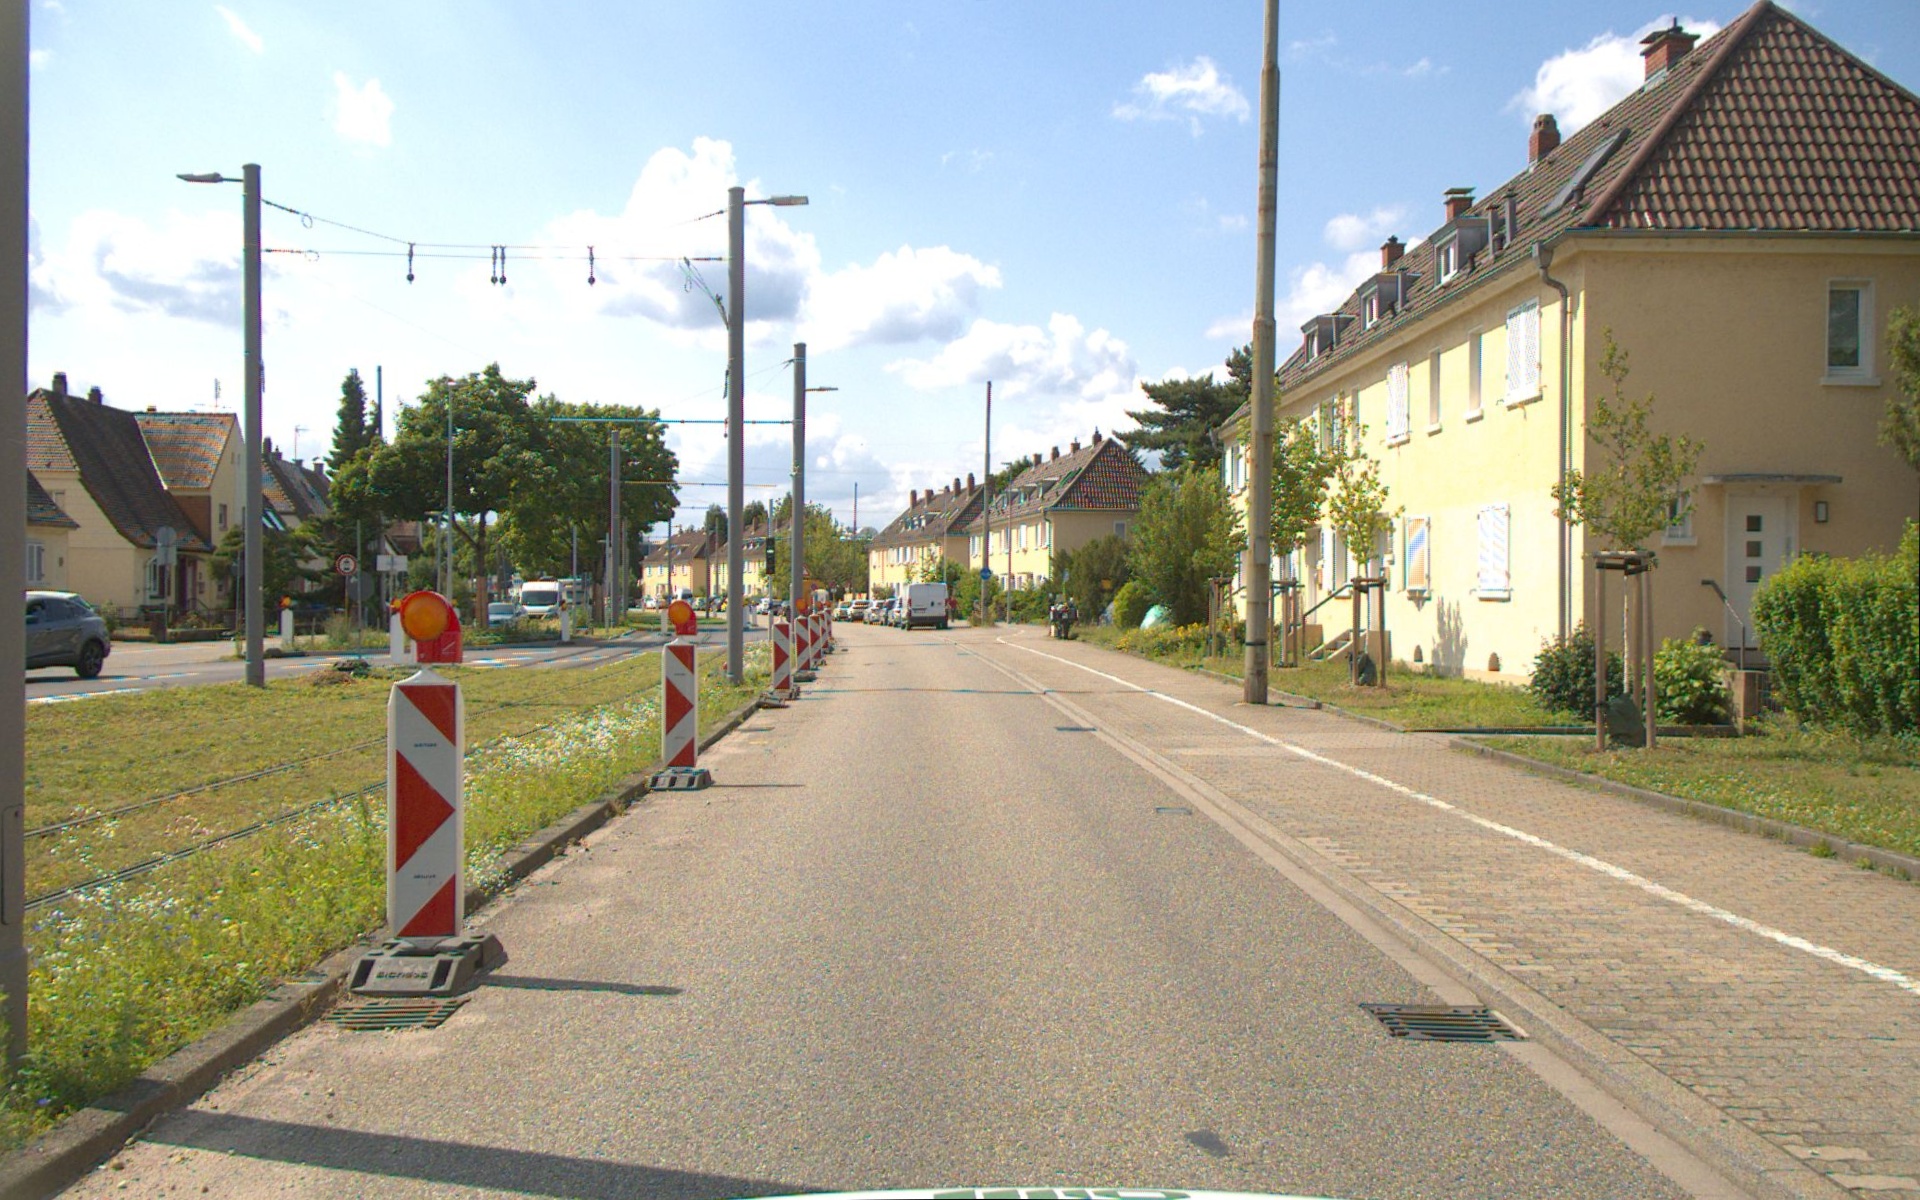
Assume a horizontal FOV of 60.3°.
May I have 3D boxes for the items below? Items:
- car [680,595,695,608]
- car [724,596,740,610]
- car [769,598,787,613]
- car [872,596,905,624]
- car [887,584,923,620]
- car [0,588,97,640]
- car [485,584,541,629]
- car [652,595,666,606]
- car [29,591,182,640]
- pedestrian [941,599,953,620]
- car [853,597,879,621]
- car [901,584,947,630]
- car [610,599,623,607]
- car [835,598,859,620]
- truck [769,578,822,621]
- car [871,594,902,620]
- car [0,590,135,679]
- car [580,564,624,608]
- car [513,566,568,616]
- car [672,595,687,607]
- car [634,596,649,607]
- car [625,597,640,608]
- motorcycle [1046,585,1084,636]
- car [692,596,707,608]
[{"bbox_3d":[-32.162,0.197,195.376,1.150,1.451,2.647,0,0,-22],"label":"car"},{"bbox_3d":[-24.193,0.324,175.428,1.239,1.451,2.650,0,0,-19],"label":"car"},{"bbox_3d":[-17.137,0.519,155.735,1.238,1.451,2.651,0,0,-18],"label":"car"},{"bbox_3d":[-4.156,0.566,96.098,1.538,1.579,3.782,0,0,-8],"label":"car"},{"bbox_3d":[-3.046,0.095,91.205,1.538,1.930,3.782,0,0,-8],"label":"car"},{"bbox_3d":[-27.829,0.397,48.473,4.025,1.492,1.990,0,0,-2],"label":"car"},{"bbox_3d":[-18.884,0.272,70.002,2.057,1.807,4.109,0,0,-12],"label":"car"},{"bbox_3d":[-38.126,0.049,209.722,1.240,1.451,2.646,0,0,-23],"label":"car"},{"bbox_3d":[-27.132,0.476,52.593,3.907,1.422,1.704,1,0,-2],"label":"car"},{"bbox_3d":[-0.785,0.604,101.869,0.620,1.277,0.725,0,0,-11],"label":"pedestrian"},{"bbox_3d":[-6.469,0.620,113.662,1.538,1.579,3.472,0,0,-8],"label":"car"},{"bbox_3d":[-1.812,0.339,81.538,2.025,2.187,4.874,0,0,-4],"label":"car"},{"bbox_3d":[-47.648,0.383,229.324,1.242,1.162,2.644,0,0,-25],"label":"car"},{"bbox_3d":[-8.218,0.617,120.016,1.538,1.579,3.472,0,0,-8],"label":"car"},{"bbox_3d":[-14.292,-0.017,143.197,2.599,3.555,9.389,0,0,-18],"label":"truck"},{"bbox_3d":[-4.532,0.423,102.070,1.538,1.579,3.782,0,0,-8],"label":"car"},{"bbox_3d":[-17.620,0.610,30.890,1.804,1.561,4.740,0,0,4],"label":"car"},{"bbox_3d":[-20.262,-0.780,93.641,2.364,2.412,4.865,0,0,-12],"label":"car"},{"bbox_3d":[-20.563,-0.403,81.217,2.364,2.379,4.865,0,0,-12],"label":"car"},{"bbox_3d":[-33.833,0.137,199.504,1.150,1.451,2.647,0,0,-22],"label":"car"},{"bbox_3d":[-41.785,0.160,216.978,1.242,1.451,2.644,0,0,-25],"label":"car"},{"bbox_3d":[-44.287,0.353,223.788,1.244,1.451,2.639,0,0,-29],"label":"car"},{"bbox_3d":[3.523,0.344,55.694,1.045,1.664,2.082,0,0,-3],"label":"motorcycle"},{"bbox_3d":[-30.112,0.261,191.200,1.240,1.374,2.648,0,0,-21],"label":"car"}]
